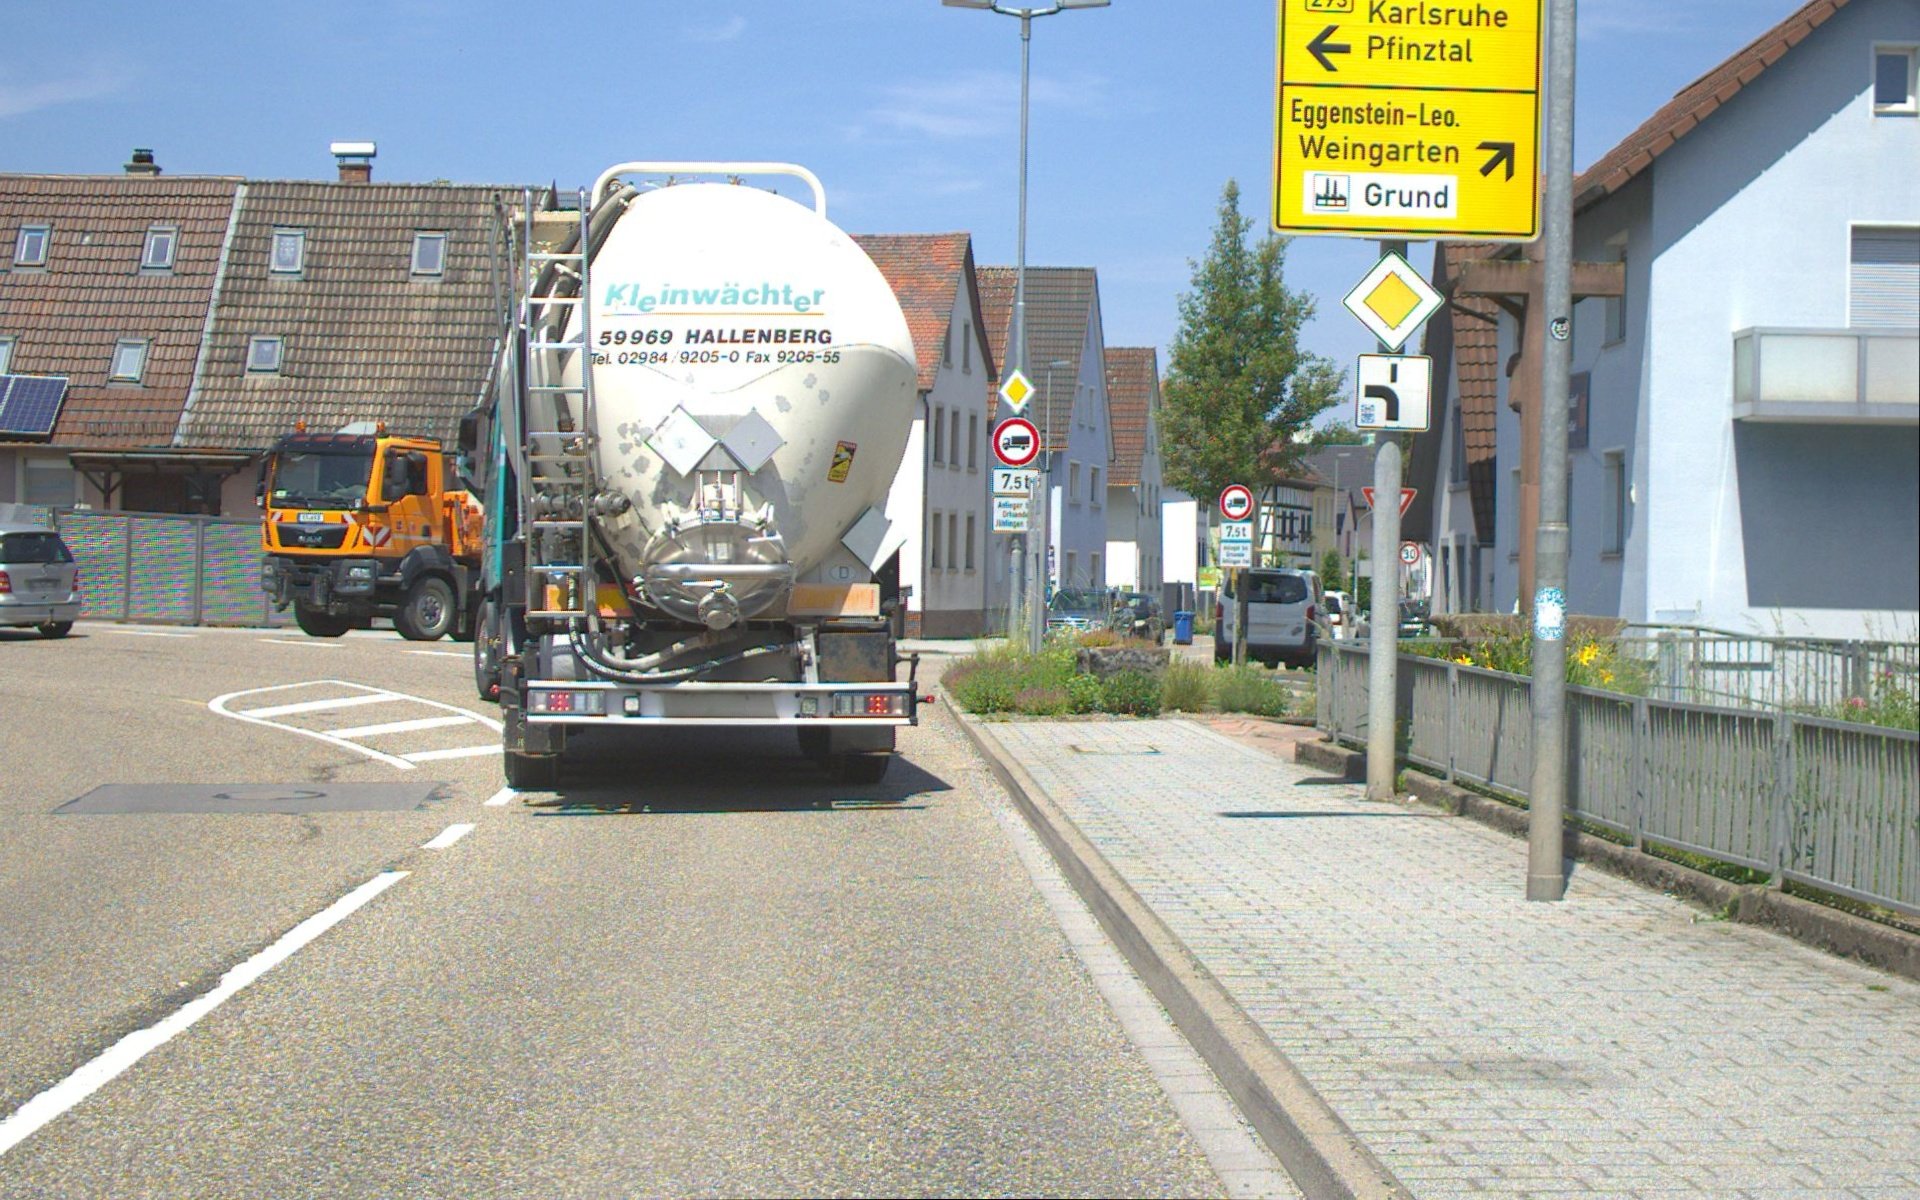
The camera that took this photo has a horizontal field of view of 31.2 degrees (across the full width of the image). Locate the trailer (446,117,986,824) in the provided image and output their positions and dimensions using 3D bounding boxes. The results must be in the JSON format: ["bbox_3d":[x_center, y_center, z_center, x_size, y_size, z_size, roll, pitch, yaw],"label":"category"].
[{"bbox_3d":[-1.998,-0.777,25.502,2.952,3.934,11.621,2,0,-6],"label":"trailer"}]

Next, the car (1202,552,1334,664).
[{"bbox_3d":[5.787,0.179,64.122,1.994,1.906,4.322,2,-1,10],"label":"car"}]

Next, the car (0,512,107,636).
[{"bbox_3d":[-13.342,-0.360,45.751,3.600,1.579,1.785,1,0,30],"label":"car"}]

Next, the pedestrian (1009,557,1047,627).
[{"bbox_3d":[1.968,-0.231,99.493,0.769,2.007,0.976,2,0,19],"label":"pedestrian"}]

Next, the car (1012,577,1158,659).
[{"bbox_3d":[2.951,0.435,80.155,1.996,1.669,4.307,2,-2,22],"label":"car"}]

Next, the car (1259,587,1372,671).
[{"bbox_3d":[7.372,0.582,71.020,1.818,1.629,4.205,1,0,12],"label":"car"}]

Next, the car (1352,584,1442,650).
[{"bbox_3d":[11.381,0.436,89.273,1.994,1.579,3.998,2,0,11],"label":"car"}]

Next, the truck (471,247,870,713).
[{"bbox_3d":[-2.904,-1.064,32.839,2.987,3.951,5.580,2,0,-12],"label":"truck"}]

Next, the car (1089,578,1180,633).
[{"bbox_3d":[5.398,0.181,105.703,1.719,1.590,3.996,2,0,19],"label":"car"}]

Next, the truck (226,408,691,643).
[{"bbox_3d":[-7.550,-1.048,52.858,2.666,3.170,7.447,1,-1,34],"label":"truck"}]
